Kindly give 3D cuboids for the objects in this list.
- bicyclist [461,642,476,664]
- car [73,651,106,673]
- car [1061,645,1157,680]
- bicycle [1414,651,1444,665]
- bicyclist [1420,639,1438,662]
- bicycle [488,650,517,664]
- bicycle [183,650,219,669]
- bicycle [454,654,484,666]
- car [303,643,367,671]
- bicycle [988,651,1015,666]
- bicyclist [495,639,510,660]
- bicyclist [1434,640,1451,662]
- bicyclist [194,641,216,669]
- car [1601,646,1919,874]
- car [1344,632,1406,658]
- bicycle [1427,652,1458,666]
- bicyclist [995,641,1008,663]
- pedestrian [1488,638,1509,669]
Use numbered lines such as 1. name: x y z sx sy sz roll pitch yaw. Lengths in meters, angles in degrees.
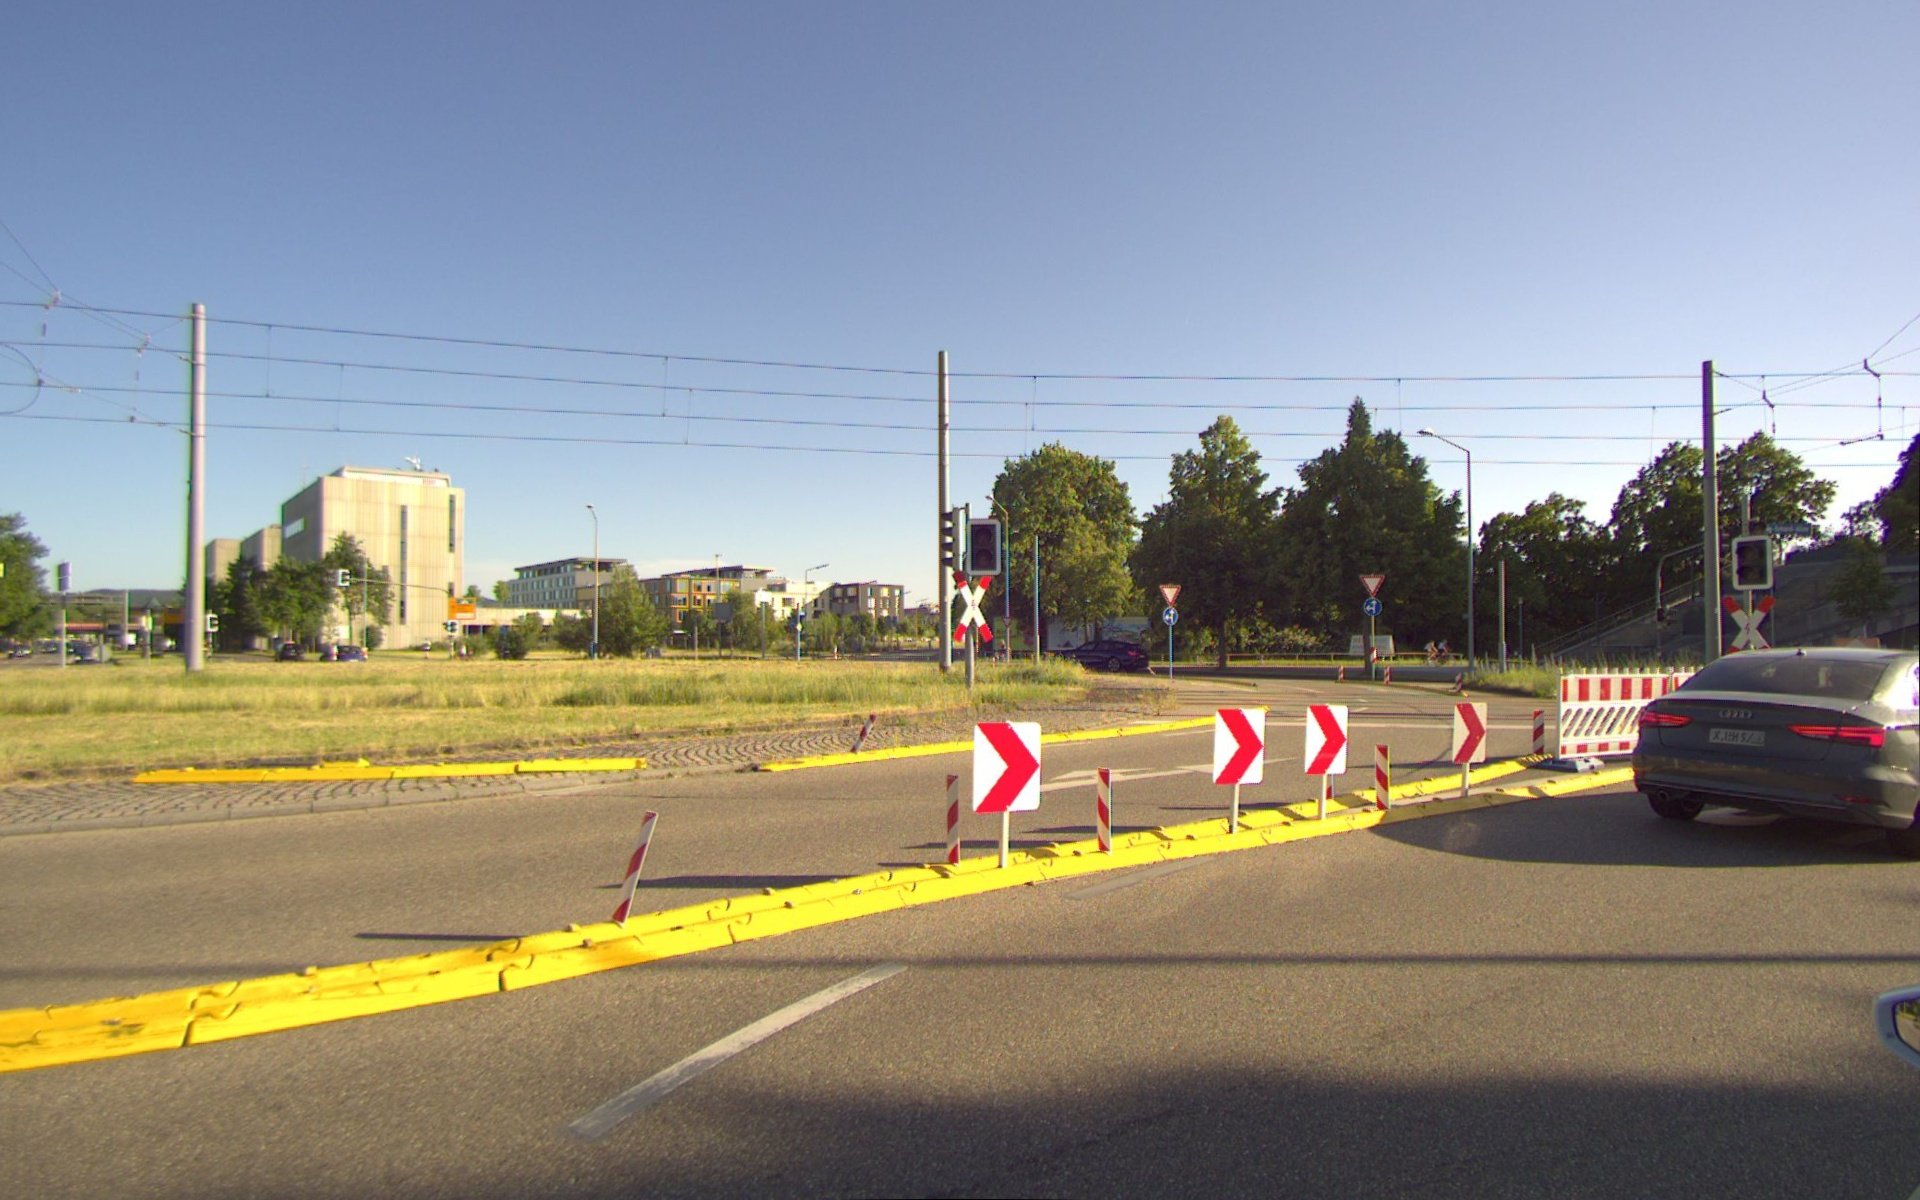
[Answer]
1. bicyclist: -35.162 3.808 71.855 0.916 1.537 0.611 1 -2 -35
2. car: -70.146 5.000 80.951 1.942 1.636 3.872 1 -2 -41
3. car: 7.133 2.987 48.525 4.428 1.507 1.727 -1 -2 44
4. bicycle: 29.991 3.729 64.213 1.860 0.863 0.614 0 -2 -20
5. bicyclist: 29.960 3.231 64.226 0.825 1.410 0.614 0 -2 -20
6. bicycle: -34.194 4.282 75.037 2.219 1.001 0.662 -1 -2 22
7. bicycle: -46.551 3.640 61.643 0.694 1.143 1.648 -1 -1 39
8. bicycle: -35.117 4.279 71.873 1.870 0.863 0.611 1 -3 -35
9. car: -41.412 3.766 66.536 3.843 1.808 1.774 -2 -2 24
10. bicycle: 2.917 4.082 70.061 1.836 1.025 0.586 -1 -1 29
11. bicyclist: -34.186 3.704 75.026 0.819 1.601 0.662 -1 -2 22
12. bicyclist: 30.377 3.216 63.287 0.708 1.410 0.614 0 -2 -20
13. bicyclist: -46.435 3.369 61.808 0.694 1.685 0.938 -1 -1 39
14. car: 7.260 1.092 8.115 4.308 1.398 1.752 2 -2 -30
15. car: 29.522 3.209 71.505 1.822 1.829 3.704 1 -3 -38
16. bicycle: 30.365 3.715 63.248 1.860 0.863 0.614 0 -2 -20
17. bicyclist: 2.921 3.620 70.060 0.742 1.487 0.586 0 -1 28
18. pedestrian: 29.023 2.860 54.148 0.746 1.650 0.886 -1 -2 13
